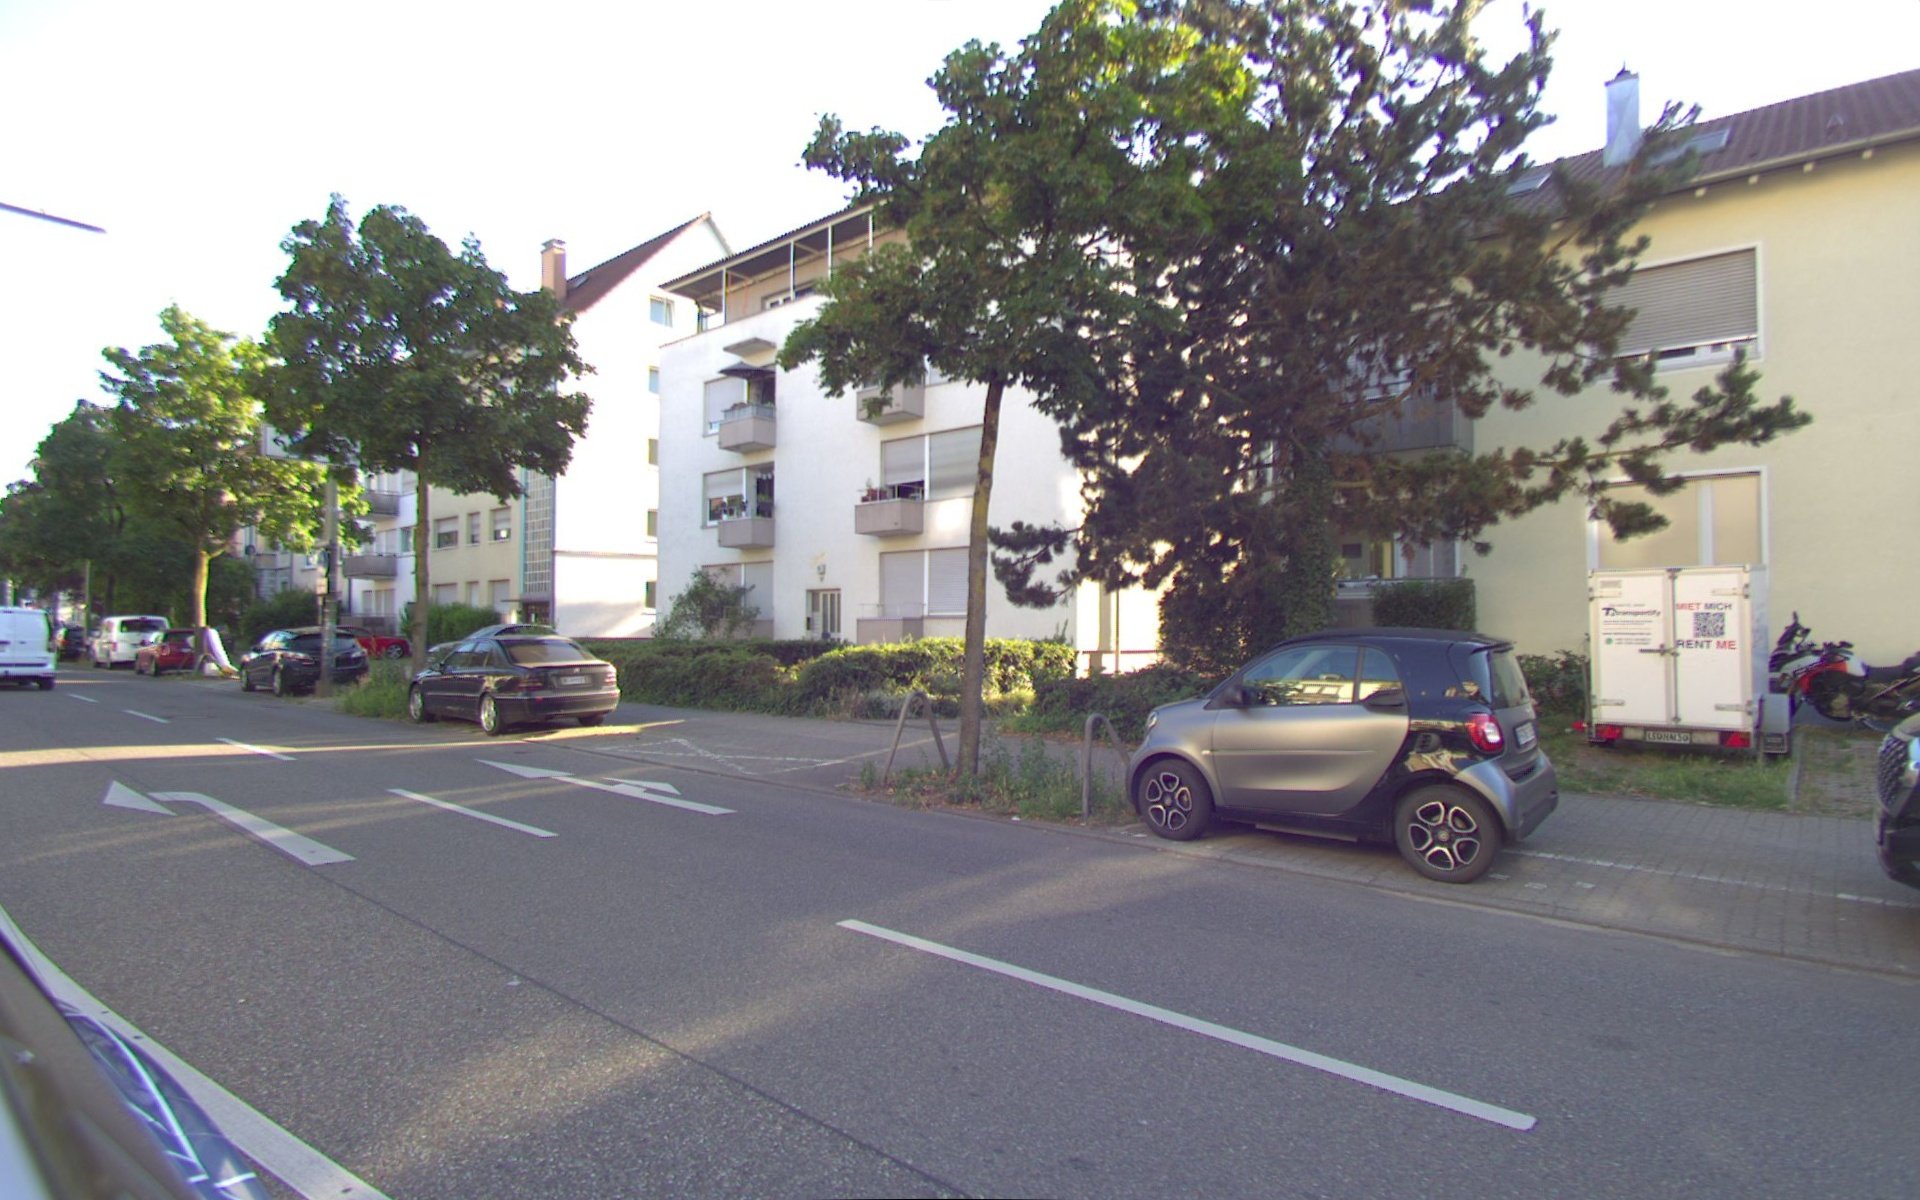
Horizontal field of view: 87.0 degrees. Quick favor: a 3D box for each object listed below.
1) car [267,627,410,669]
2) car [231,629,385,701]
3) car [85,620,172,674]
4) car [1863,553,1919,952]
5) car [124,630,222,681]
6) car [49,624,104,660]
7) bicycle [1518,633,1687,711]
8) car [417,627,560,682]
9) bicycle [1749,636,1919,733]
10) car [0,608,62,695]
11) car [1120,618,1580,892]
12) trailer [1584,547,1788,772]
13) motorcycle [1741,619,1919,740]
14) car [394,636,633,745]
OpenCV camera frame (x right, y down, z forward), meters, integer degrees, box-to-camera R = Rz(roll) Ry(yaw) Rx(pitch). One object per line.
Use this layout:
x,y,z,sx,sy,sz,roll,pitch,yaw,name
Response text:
-24.207,1.810,39.580,1.735,1.416,4.516,-1,0,31,car
-14.804,1.413,22.910,3.997,1.497,1.838,-2,-3,40,car
-29.562,1.643,35.936,4.190,1.823,1.717,-1,-2,41,car
6.650,0.666,3.818,4.722,1.793,1.868,-1,-2,40,car
-24.374,1.674,31.321,3.634,1.475,1.717,-1,-2,41,car
-37.752,1.769,43.222,3.682,1.416,1.388,-1,0,43,car
9.478,1.035,14.999,2.045,1.072,0.513,-1,-2,41,bicycle
-13.856,1.571,29.858,1.686,1.535,3.422,-2,-3,42,car
11.350,1.039,12.693,2.257,1.149,0.564,-1,-2,41,bicycle
-21.899,1.129,22.721,4.427,1.817,1.869,-1,-4,40,car
2.741,0.932,7.300,2.747,1.567,1.557,-1,-2,40,car
7.722,0.590,10.725,1.551,2.029,2.745,-1,-3,39,trailer
10.822,0.932,12.128,2.257,1.384,0.564,-2,-3,41,motorcycle
-6.938,1.269,15.507,4.441,1.418,1.620,-1,-2,41,car
